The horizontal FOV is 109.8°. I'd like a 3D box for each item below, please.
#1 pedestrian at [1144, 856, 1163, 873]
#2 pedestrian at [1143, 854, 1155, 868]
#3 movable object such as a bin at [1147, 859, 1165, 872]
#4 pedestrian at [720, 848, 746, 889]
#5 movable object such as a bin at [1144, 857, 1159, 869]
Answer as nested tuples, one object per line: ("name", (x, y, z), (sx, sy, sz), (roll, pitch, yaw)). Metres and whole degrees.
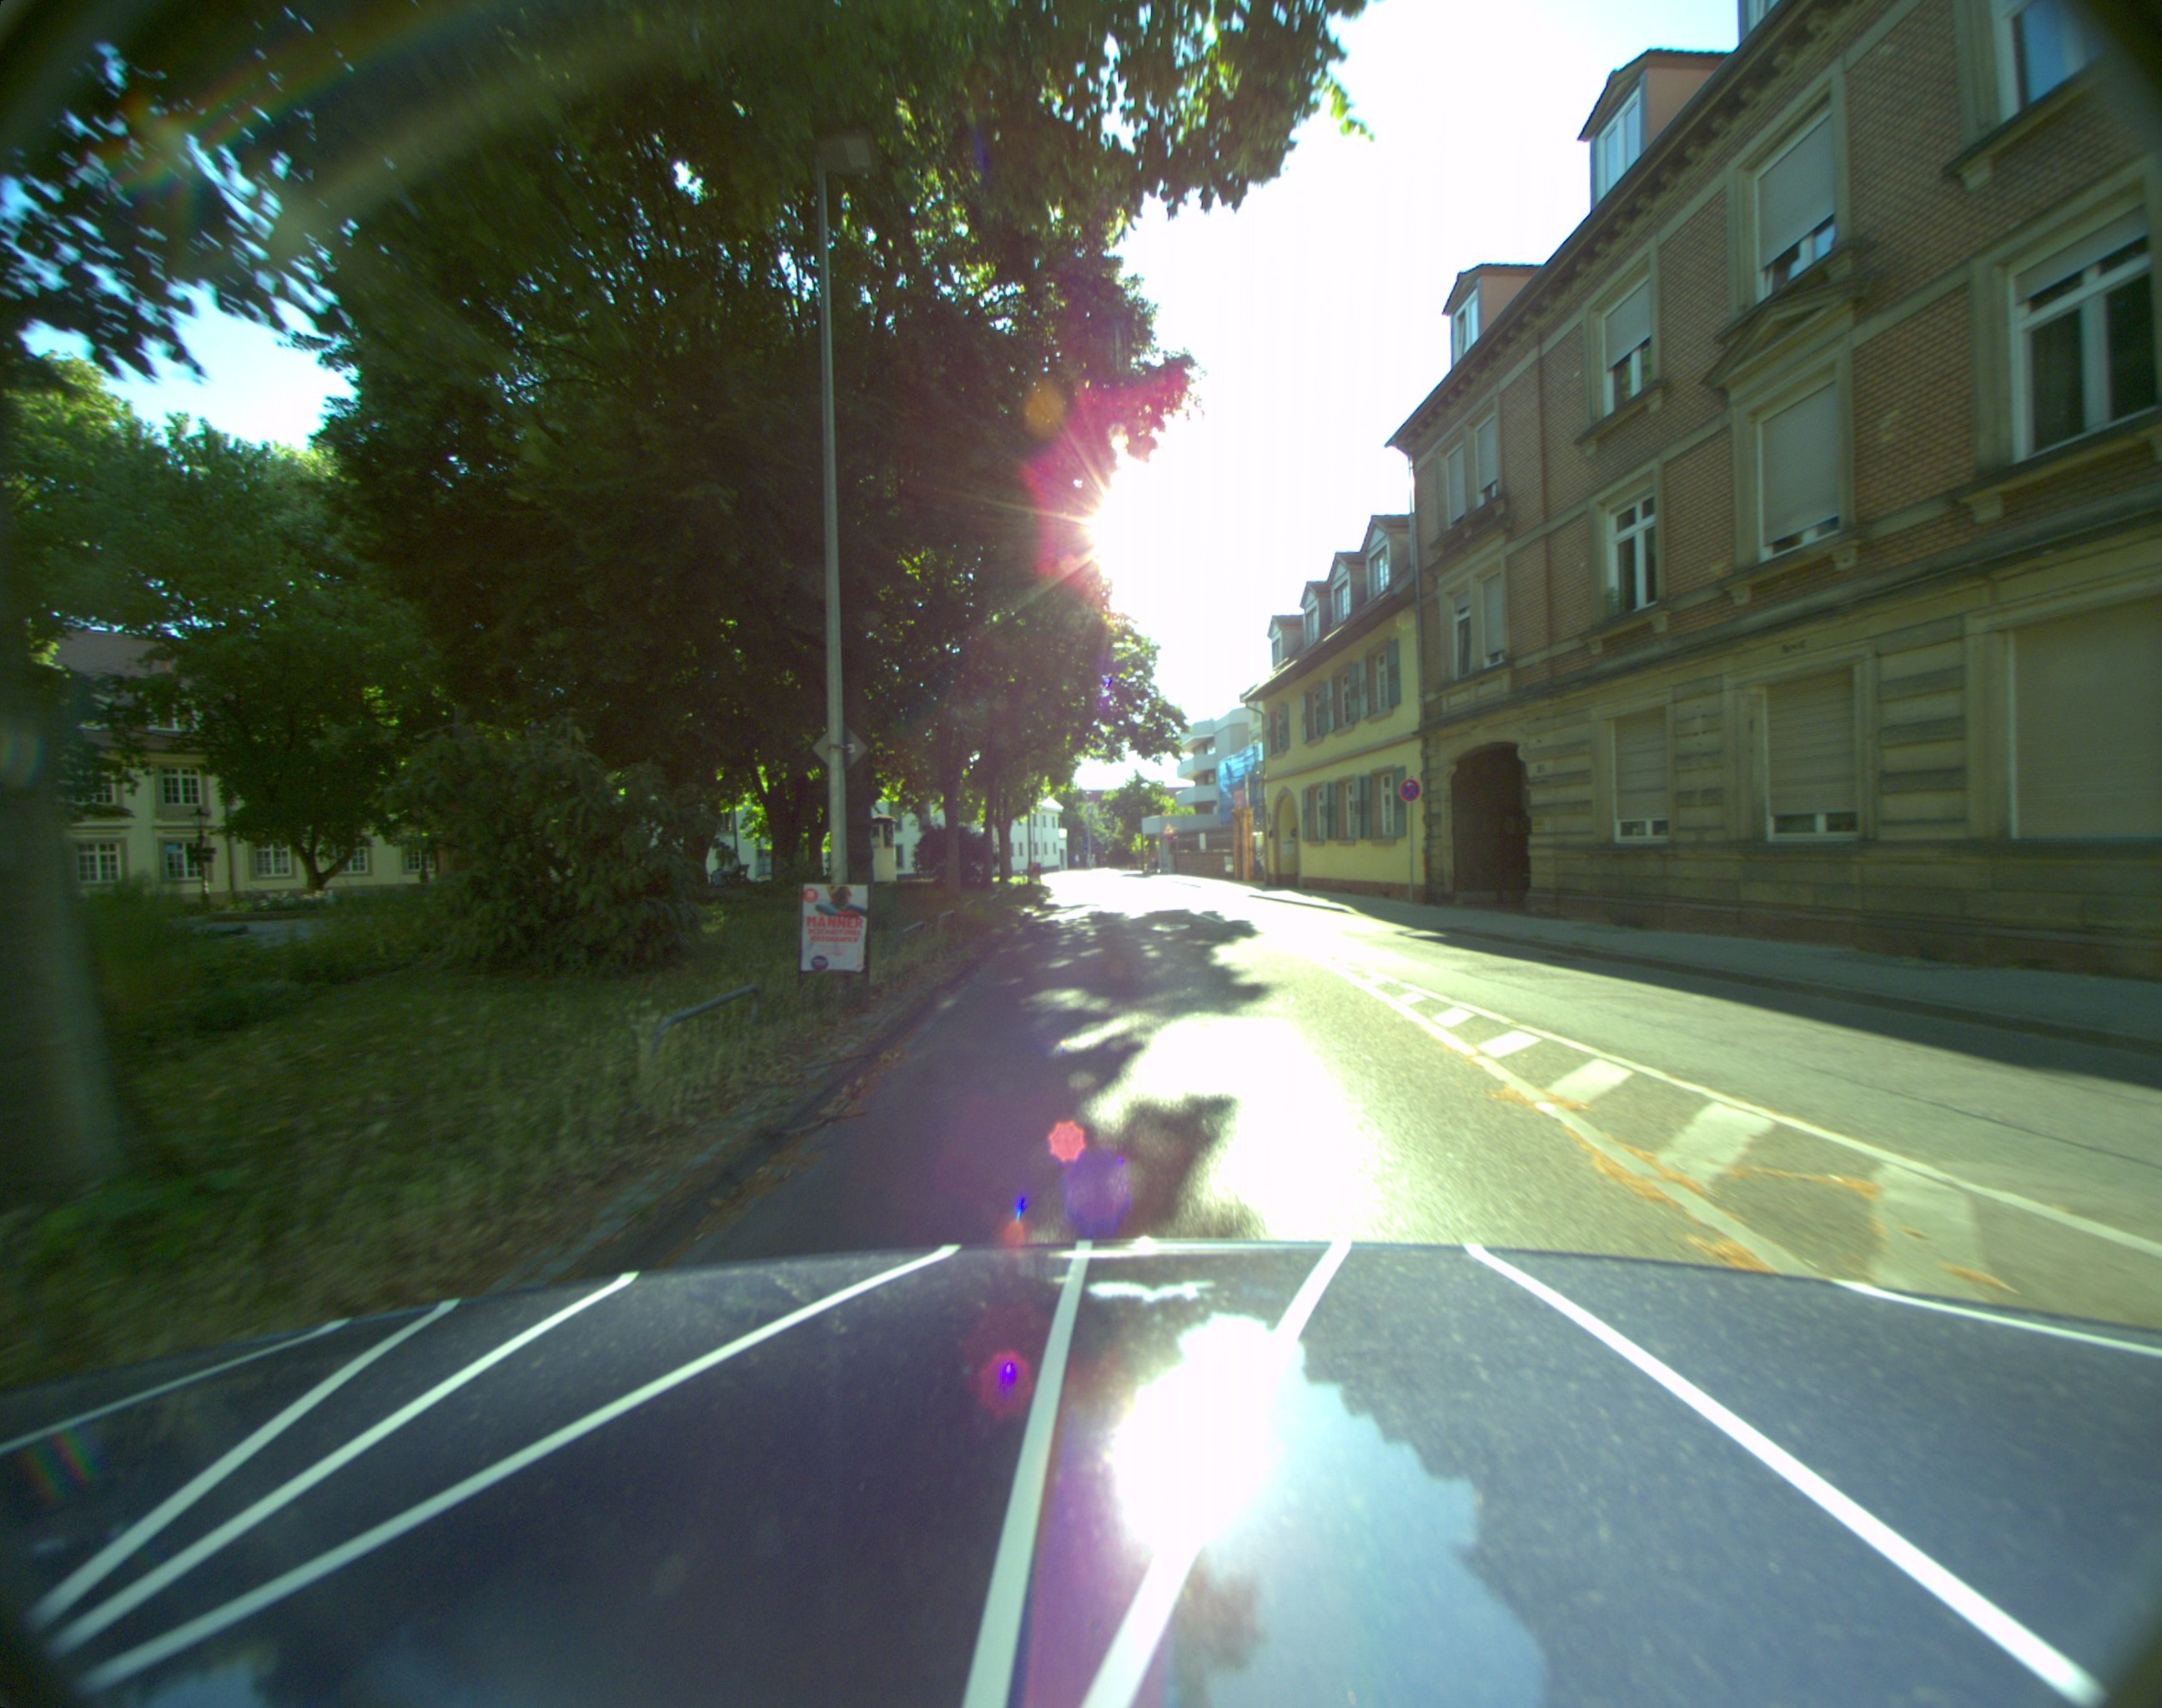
("pedestrian", (5.702, 0.805, 59.868), (1.155, 1.222, 0.842), (-4, 1, 32))
("pedestrian", (5.962, 0.614, 66.343), (0.743, 1.179, 0.840), (-4, 1, -10))
("movable object such as a bin", (5.897, 0.937, 59.751), (1.035, 0.923, 0.842), (-4, 1, 32))
("pedestrian", (-11.158, 0.459, 24.328), (0.697, 1.310, 0.681), (-1, 1, -29))
("movable object such as a bin", (6.144, 0.763, 66.366), (1.038, 0.923, 0.840), (-4, 1, -10))
